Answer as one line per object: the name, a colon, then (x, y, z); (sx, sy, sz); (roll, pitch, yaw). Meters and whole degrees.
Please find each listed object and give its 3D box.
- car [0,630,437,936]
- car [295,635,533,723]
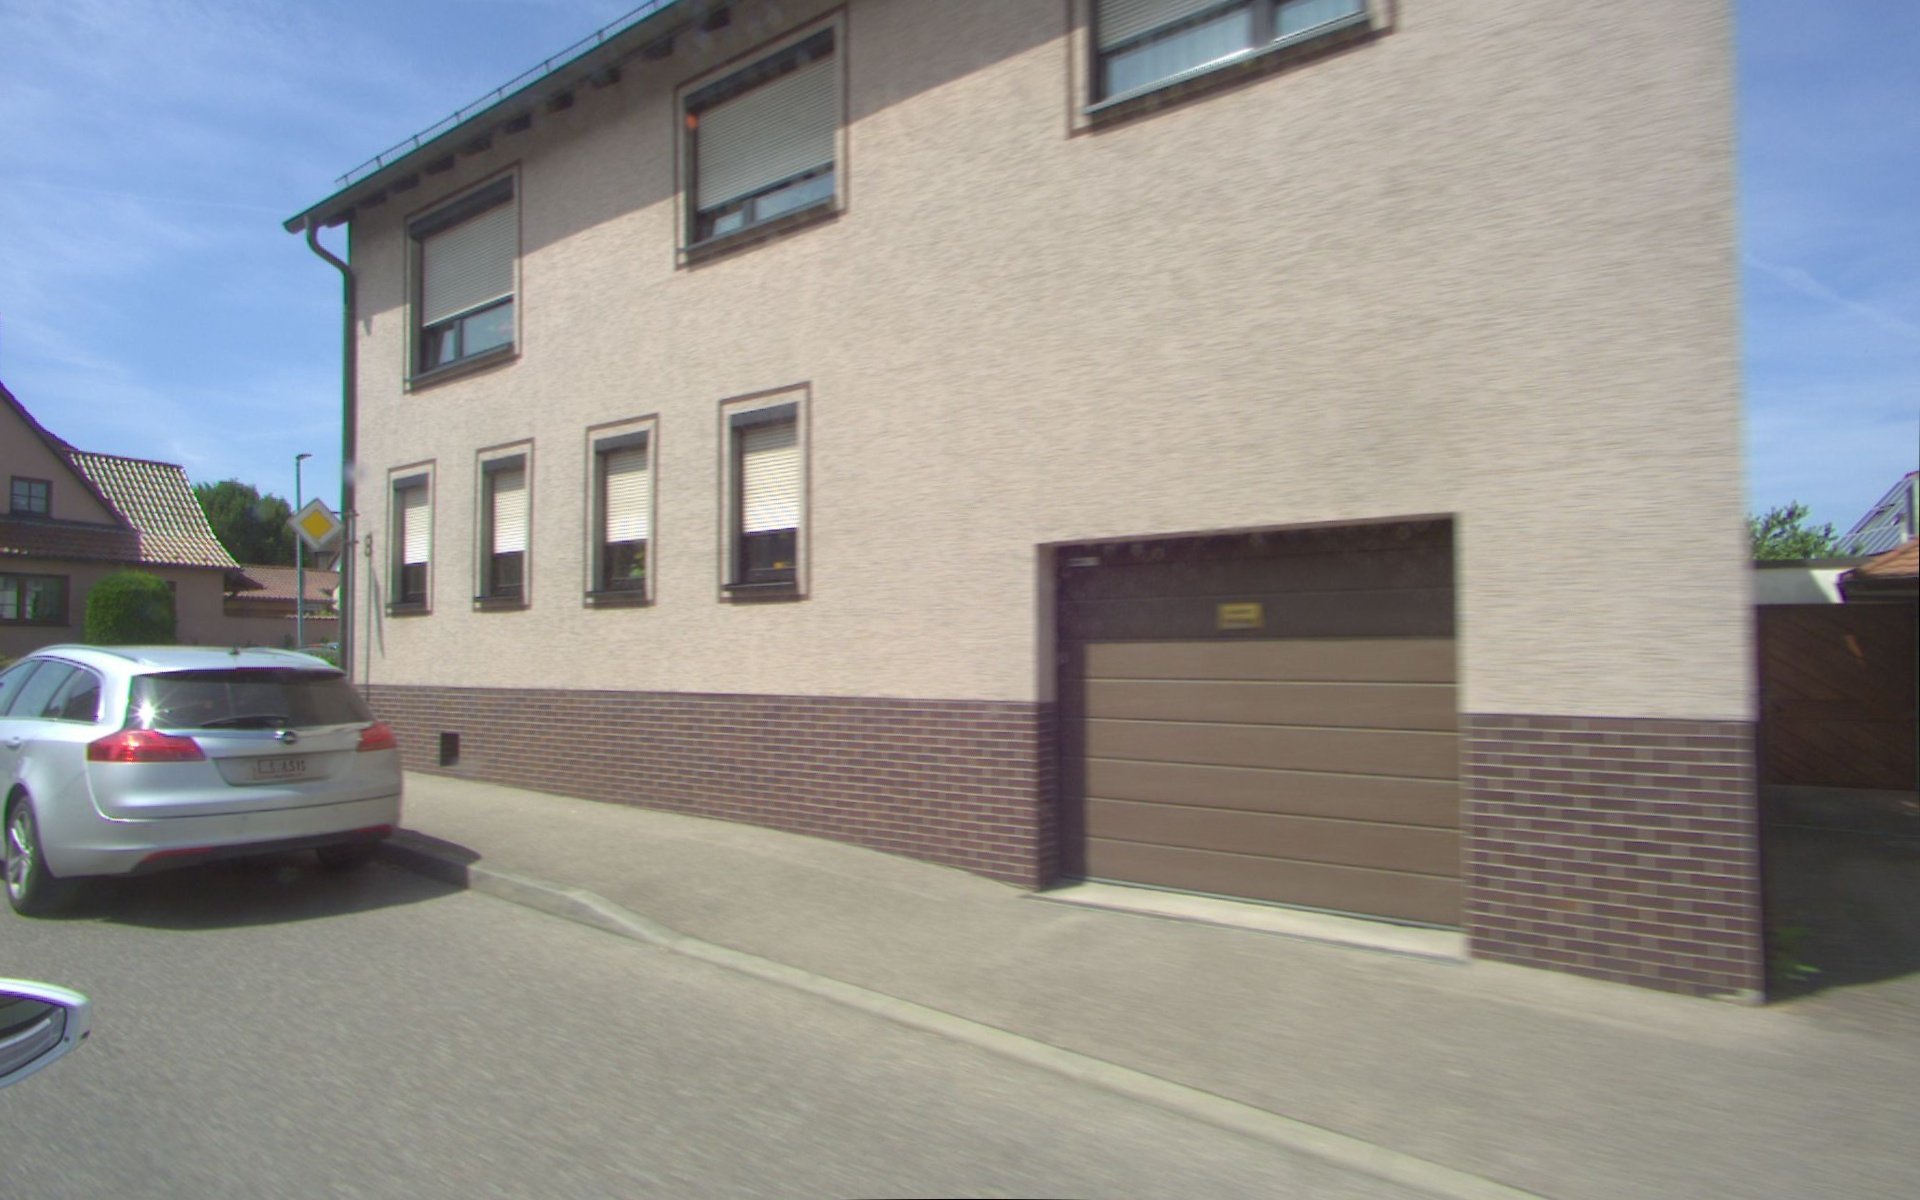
car: (-5.623, 0.969, 6.838); (4.277, 1.460, 1.783); (0, -3, 34)
car: (-10.412, 1.459, 19.430); (1.856, 1.507, 3.812); (0, -2, 18)
